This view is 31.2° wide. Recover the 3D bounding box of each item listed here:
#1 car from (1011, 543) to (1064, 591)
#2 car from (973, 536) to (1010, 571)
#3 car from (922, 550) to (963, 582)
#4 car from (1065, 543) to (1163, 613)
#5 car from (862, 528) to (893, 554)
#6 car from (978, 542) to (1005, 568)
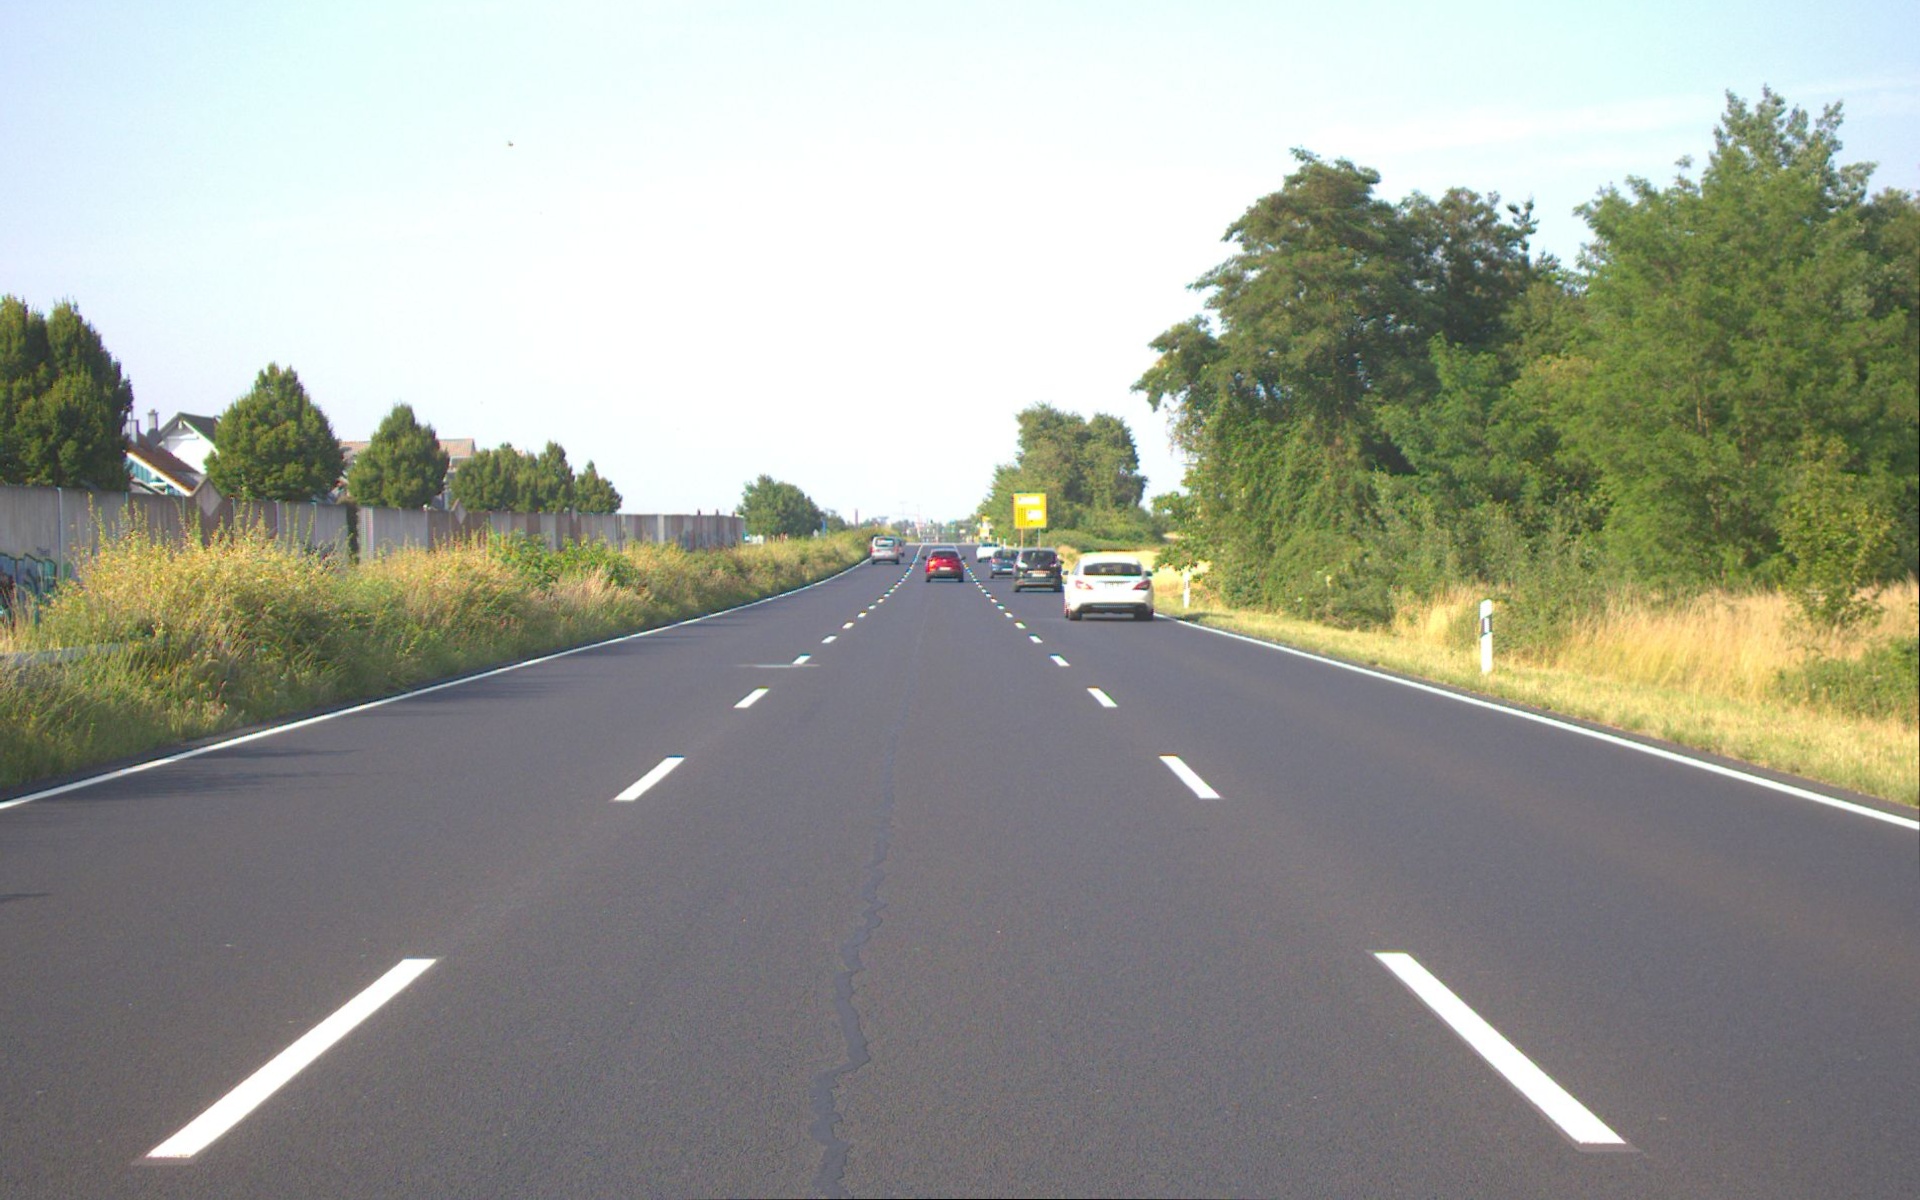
[{"bbox_3d":[2.873,-1.233,128.146,1.828,1.722,4.000,1,0,-1],"label":"car"},{"bbox_3d":[1.576,-2.344,172.799,1.834,1.711,3.862,1,0,0],"label":"car"},{"bbox_3d":[-0.806,-1.565,158.413,1.812,1.431,3.859,1,0,-1],"label":"car"},{"bbox_3d":[3.416,-0.494,76.891,1.993,1.511,4.000,1,0,0],"label":"car"},{"bbox_3d":[-5.576,-4.006,233.117,1.993,1.711,4.000,1,0,0],"label":"car"},{"bbox_3d":[2.215,-3.186,243.840,1.847,1.744,4.000,1,0,0],"label":"car"}]
